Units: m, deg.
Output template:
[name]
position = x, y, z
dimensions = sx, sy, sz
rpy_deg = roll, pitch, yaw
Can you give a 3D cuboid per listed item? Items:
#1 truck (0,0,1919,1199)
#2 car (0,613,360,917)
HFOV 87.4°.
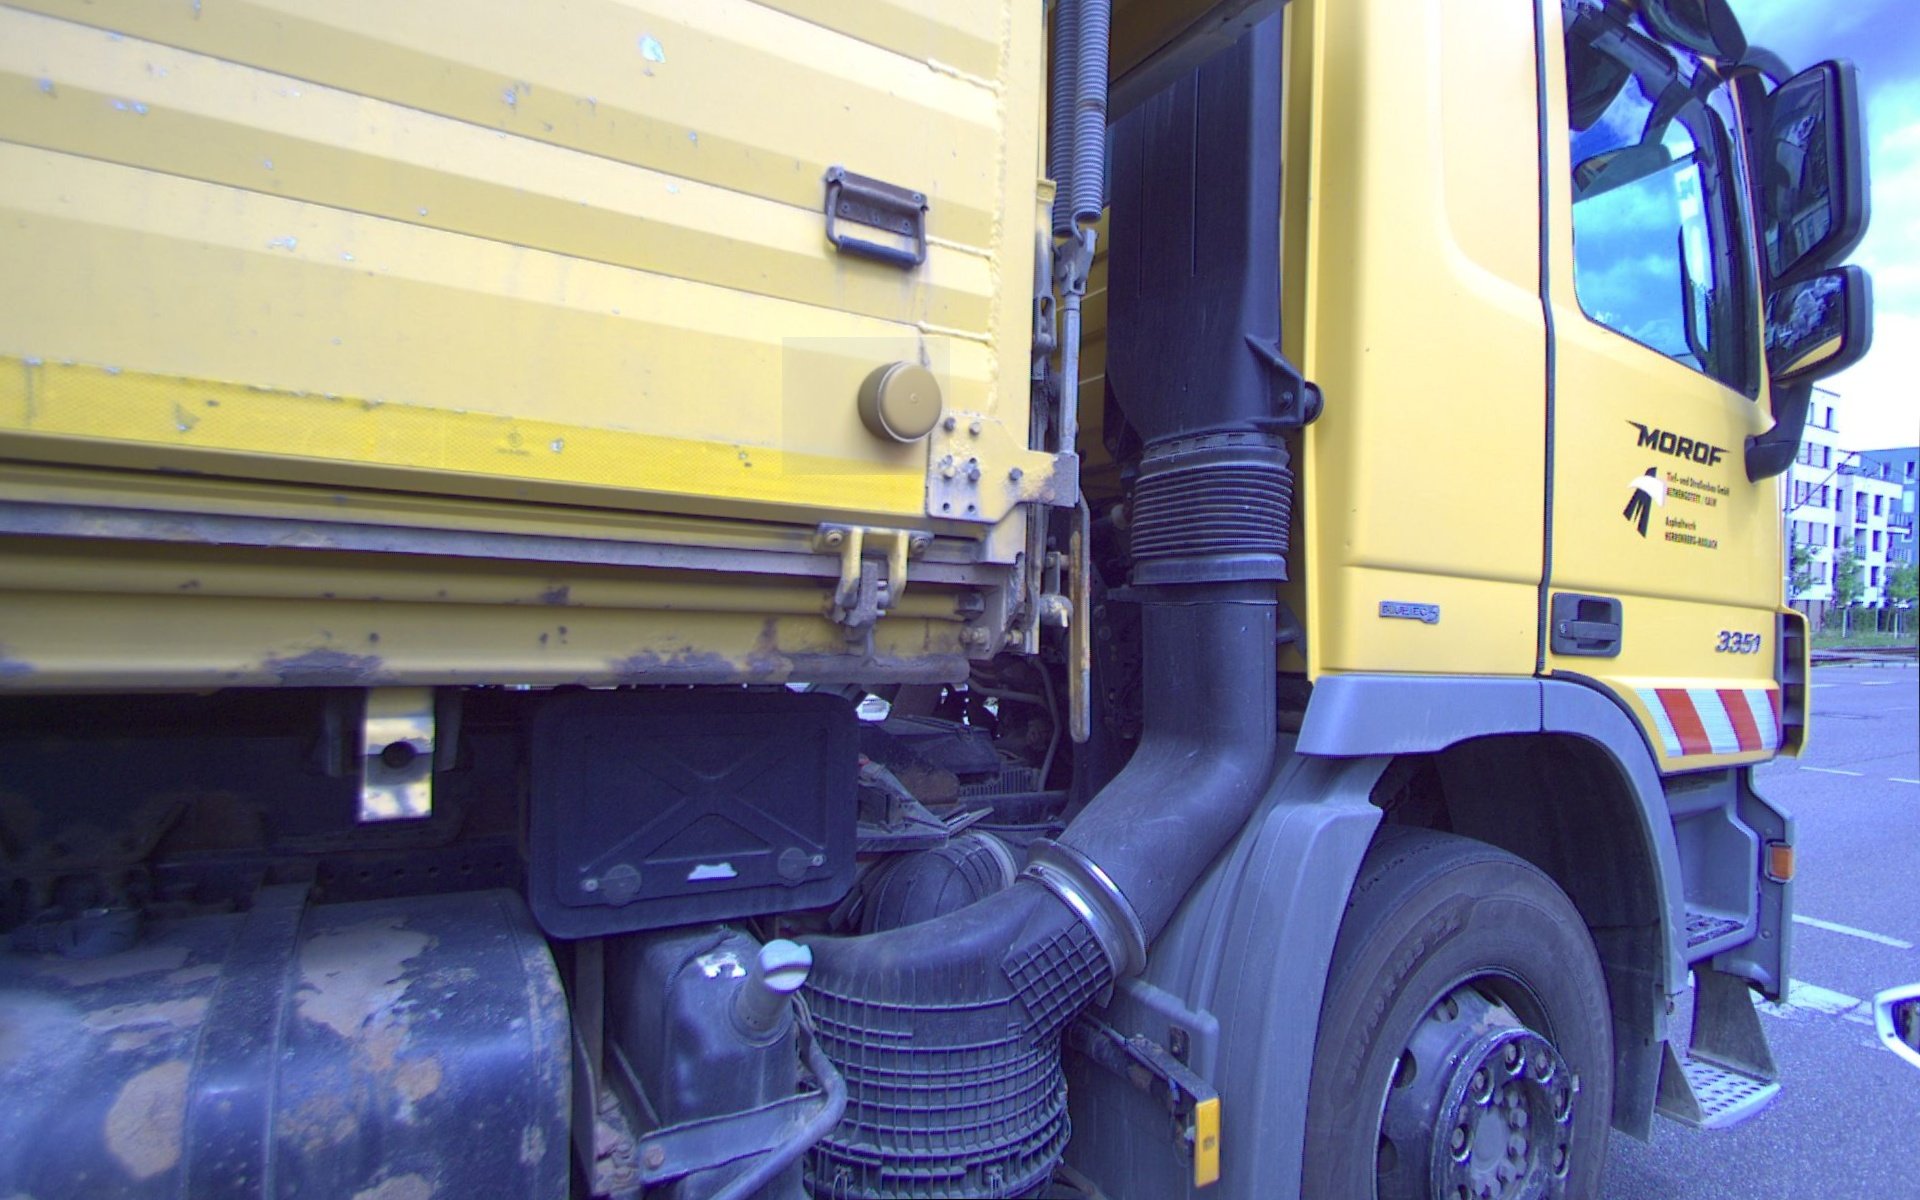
[truck]
position = -1.540, -0.038, 1.591
dimensions = 7.688, 3.043, 2.707
rpy_deg = 2, 0, -30
[car]
position = -5.684, 0.829, 5.468
dimensions = 4.006, 1.489, 1.764
rpy_deg = 1, 0, -37
